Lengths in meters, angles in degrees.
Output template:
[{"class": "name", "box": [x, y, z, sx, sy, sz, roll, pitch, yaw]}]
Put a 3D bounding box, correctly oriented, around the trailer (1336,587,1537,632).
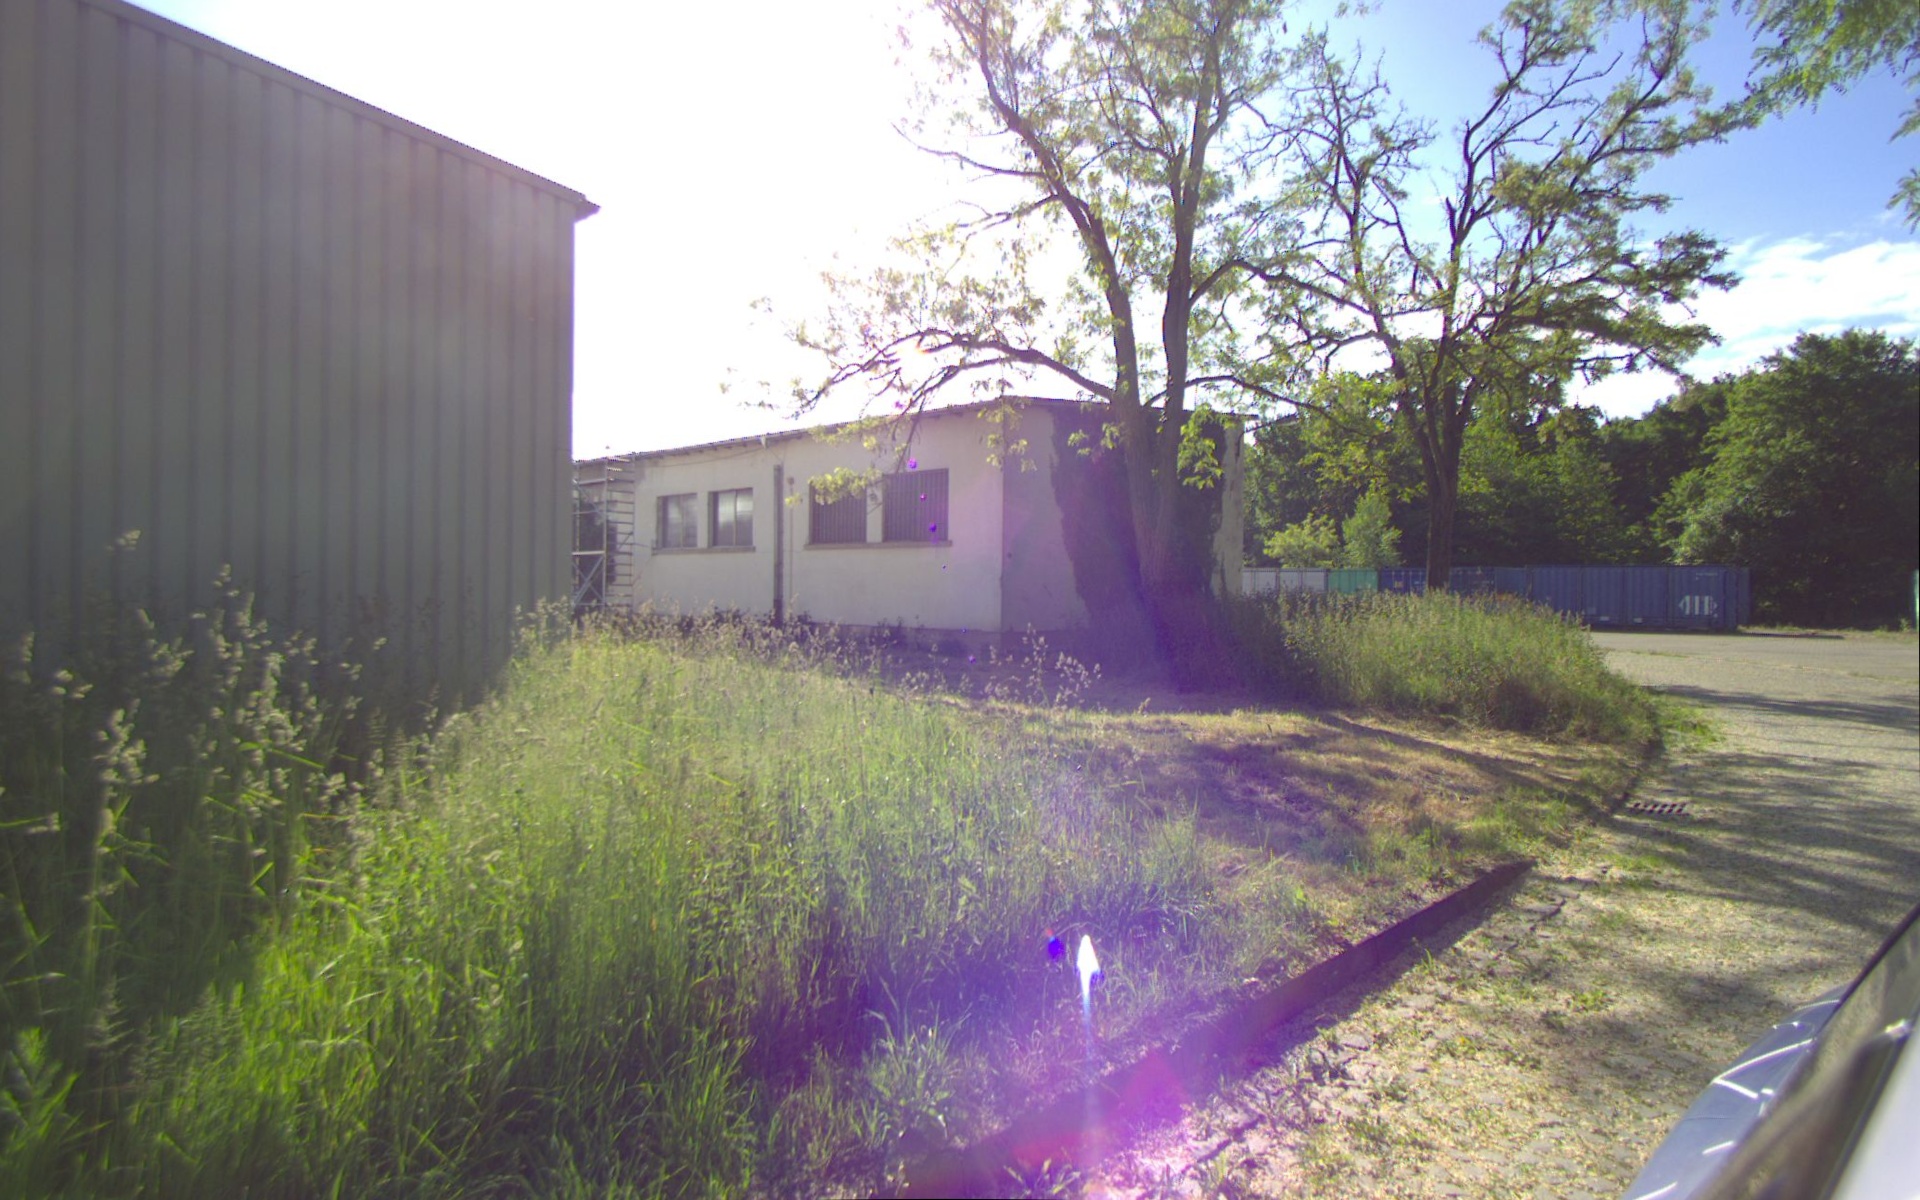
[{"class": "trailer", "box": [18.153, 0.302, 38.762, 6.467, 1.536, 2.813, 0, 2, 42]}]
